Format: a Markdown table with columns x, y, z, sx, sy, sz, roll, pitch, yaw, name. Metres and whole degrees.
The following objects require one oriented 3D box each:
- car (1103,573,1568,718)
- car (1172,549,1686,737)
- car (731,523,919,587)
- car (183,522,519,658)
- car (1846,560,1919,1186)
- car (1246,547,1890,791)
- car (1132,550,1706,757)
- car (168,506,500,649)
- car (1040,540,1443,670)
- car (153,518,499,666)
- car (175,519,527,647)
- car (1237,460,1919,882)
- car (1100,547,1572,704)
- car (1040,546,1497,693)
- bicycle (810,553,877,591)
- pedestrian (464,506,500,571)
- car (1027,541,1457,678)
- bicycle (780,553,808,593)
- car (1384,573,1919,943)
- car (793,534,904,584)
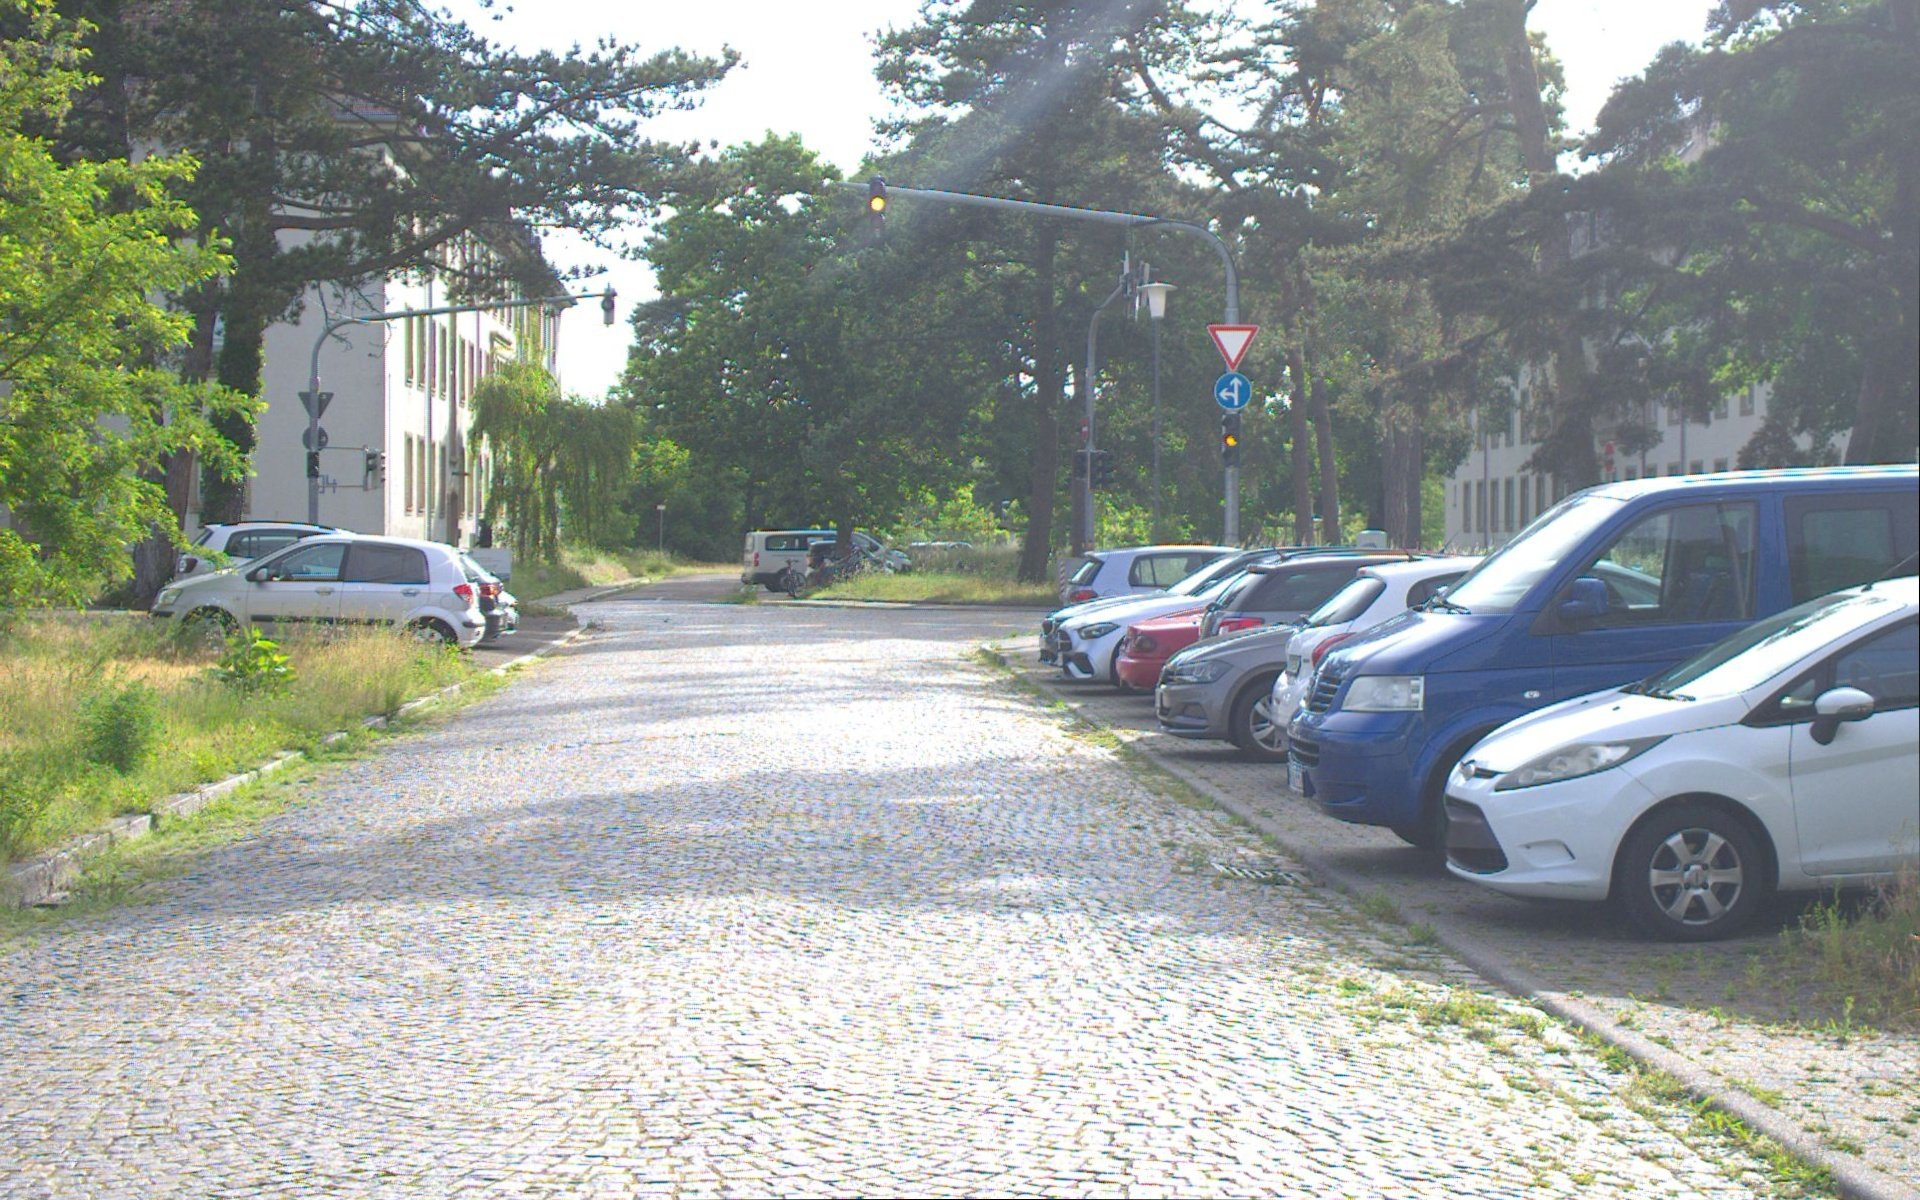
| x | y | z | sx | sy | sz | roll | pitch | yaw | name |
| --- | --- | --- | --- | --- | --- | --- | --- | --- | --- |
| 3.340 | 0.390 | 31.064 | 3.950 | 1.256 | 1.727 | 0 | 0 | -2 | car |
| 3.820 | 0.339 | 28.443 | 3.950 | 1.490 | 1.772 | 0 | 0 | -2 | car |
| -4.247 | -1.399 | 107.866 | 5.499 | 1.909 | 2.255 | 1 | 0 | -16 | car |
| -7.460 | -0.122 | 42.401 | 3.828 | 1.424 | 1.859 | 3 | 0 | -4 | car |
| 4.540 | 0.685 | 8.454 | 4.190 | 1.583 | 1.878 | 0 | 0 | -4 | car |
| 3.929 | 0.428 | 22.661 | 3.874 | 1.525 | 1.808 | 0 | 0 | -2 | car |
| 3.334 | 0.374 | 25.495 | 3.950 | 1.462 | 1.831 | 0 | 0 | -2 | car |
| -8.149 | -0.296 | 45.065 | 4.120 | 1.594 | 1.859 | 3 | 0 | -7 | car |
| 3.324 | 0.052 | 41.124 | 4.543 | 1.500 | 1.933 | 0 | 0 | -4 | car |
| -7.282 | -0.097 | 39.751 | 3.682 | 1.468 | 1.850 | 3 | 0 | -4 | car |
| -8.377 | -0.251 | 47.601 | 4.586 | 1.450 | 1.904 | 3 | 2 | -5 | car |
| 3.905 | 0.299 | 17.299 | 4.732 | 1.922 | 1.992 | -1 | 1 | -3 | car |
| 3.607 | 0.234 | 33.455 | 4.340 | 1.468 | 1.740 | 0 | 0 | -3 | car |
| 3.149 | 0.183 | 35.707 | 4.506 | 1.468 | 1.850 | 0 | 0 | -3 | car |
| -3.147 | -0.759 | 92.990 | 1.792 | 0.995 | 0.644 | 0 | 2 | -4 | bicycle |
| -14.422 | -1.848 | 103.809 | 0.985 | 1.956 | 0.933 | 1 | 0 | -3 | pedestrian |
| 3.112 | 0.092 | 38.487 | 4.505 | 1.468 | 1.896 | 0 | 0 | -7 | car |
| -4.269 | -0.700 | 88.323 | 0.728 | 0.995 | 1.799 | 0 | 2 | -3 | bicycle |
| 4.091 | 0.615 | 14.797 | 4.189 | 1.465 | 1.808 | 0 | 0 | -6 | car |
| -3.388 | -1.234 | 104.337 | 3.031 | 1.460 | 1.720 | 1 | 0 | -15 | car |
